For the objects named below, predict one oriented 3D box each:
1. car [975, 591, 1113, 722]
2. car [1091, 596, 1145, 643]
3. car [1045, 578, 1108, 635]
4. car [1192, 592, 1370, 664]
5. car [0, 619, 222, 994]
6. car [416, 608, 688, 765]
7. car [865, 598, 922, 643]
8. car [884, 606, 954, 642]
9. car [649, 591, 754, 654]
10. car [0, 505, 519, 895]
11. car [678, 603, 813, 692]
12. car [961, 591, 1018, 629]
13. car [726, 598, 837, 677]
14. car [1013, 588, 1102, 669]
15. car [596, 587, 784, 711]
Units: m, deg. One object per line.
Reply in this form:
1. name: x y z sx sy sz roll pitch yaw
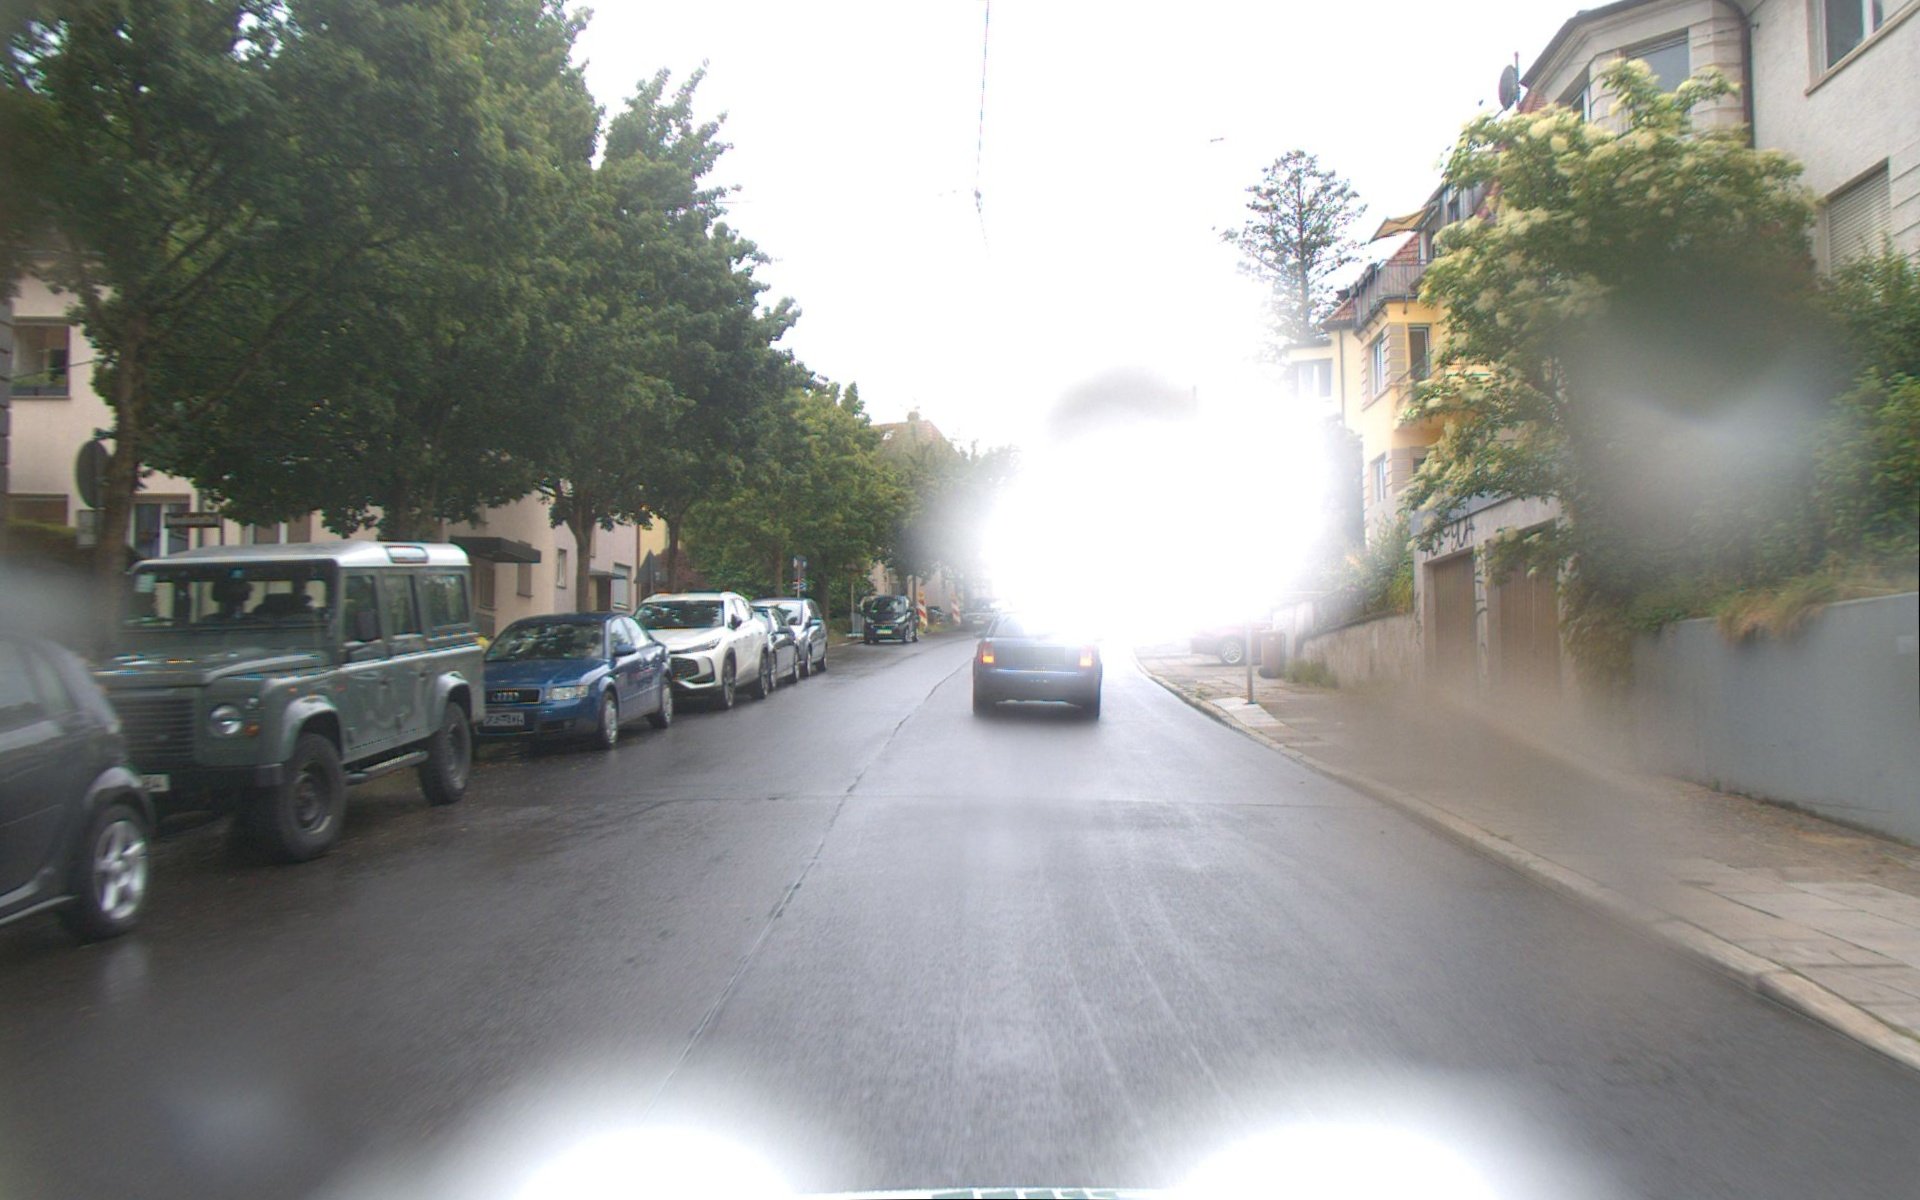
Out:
1. car: 1.158 0.703 22.932 1.697 1.492 4.002 2 2 3
2. car: 6.847 0.806 71.255 1.697 1.799 4.239 3 2 13
3. car: 4.085 0.184 57.377 1.696 1.799 4.239 3 2 10
4. car: 7.373 0.636 38.317 3.902 1.492 1.741 -2 1 7
5. car: -4.682 0.850 6.397 1.732 1.461 4.346 -1 0 -1
6. car: -4.425 0.872 18.719 1.731 1.411 4.636 -1 1 2
7. car: -2.192 0.645 55.098 1.444 1.318 3.223 2 2 5
8. car: -2.078 1.205 84.697 3.144 1.395 1.480 -7 1 19
9. car: -8.829 0.774 56.618 3.144 1.770 1.480 -6 1 4
10. car: -4.665 0.529 11.590 1.755 2.085 4.782 -3 1 0
11. car: -3.863 0.833 30.436 1.731 1.499 4.009 -1 -1 3
12. car: 1.295 0.416 71.727 1.696 1.492 4.004 3 2 12
13. car: -3.778 0.777 35.638 1.731 1.566 4.009 -1 -1 3
14. car: 2.355 0.623 39.268 1.934 1.663 4.238 2 2 5
15. car: -3.952 0.696 25.018 1.731 1.655 4.692 -1 -1 4
